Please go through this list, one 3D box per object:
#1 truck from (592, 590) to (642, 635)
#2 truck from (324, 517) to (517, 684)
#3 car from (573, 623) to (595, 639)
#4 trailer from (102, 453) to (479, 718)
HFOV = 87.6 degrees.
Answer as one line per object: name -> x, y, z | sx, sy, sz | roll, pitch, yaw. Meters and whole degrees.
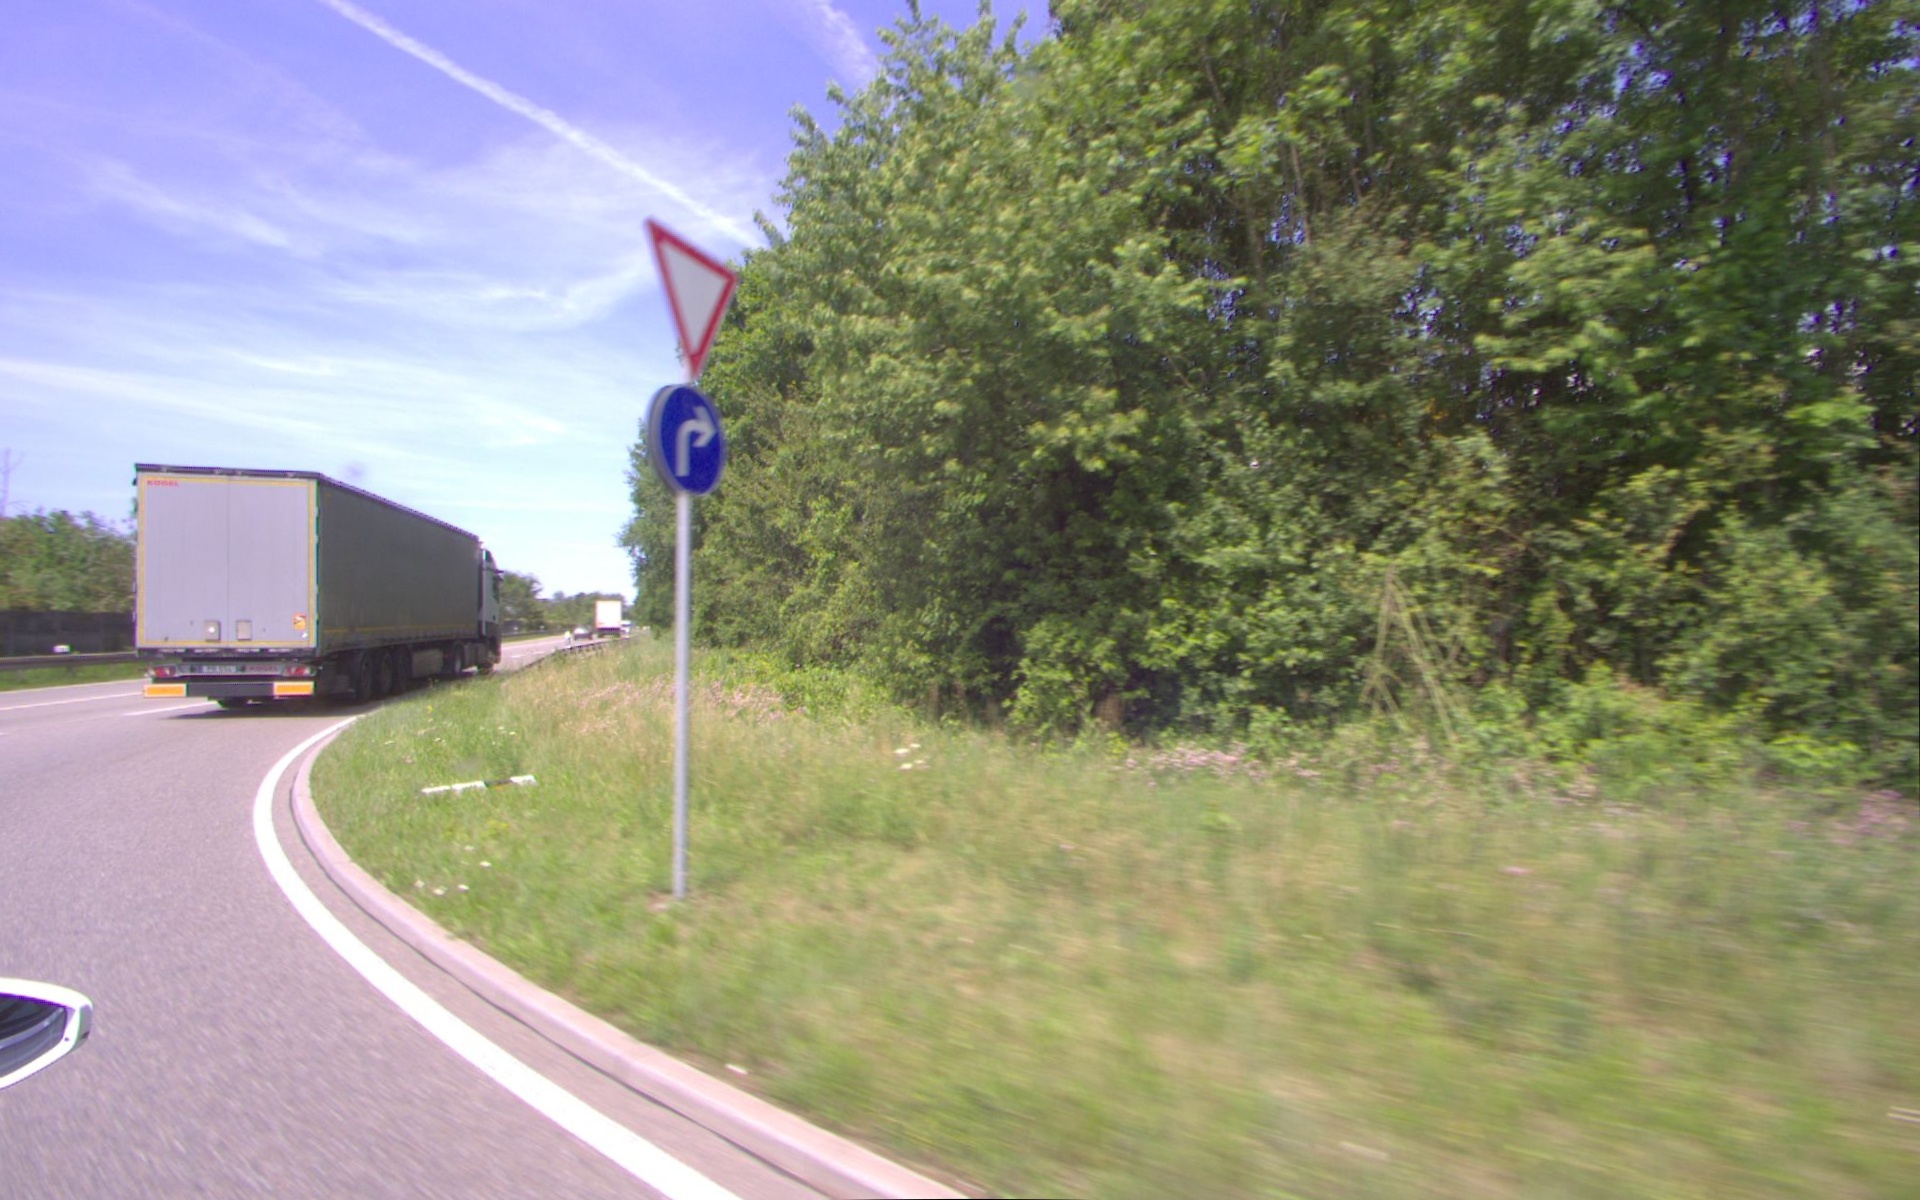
truck -> -38.962, 1.521, 114.432 | 3.771, 4.805, 16.188 | 0, -1, -13
truck -> -15.486, 0.148, 29.422 | 3.105, 4.278, 7.118 | 0, -2, -12
car -> -36.130, 2.983, 96.313 | 1.642, 1.505, 3.994 | 1, -2, -16
trailer -> -13.589, -0.011, 22.259 | 2.983, 4.086, 13.334 | 0, -2, -16
